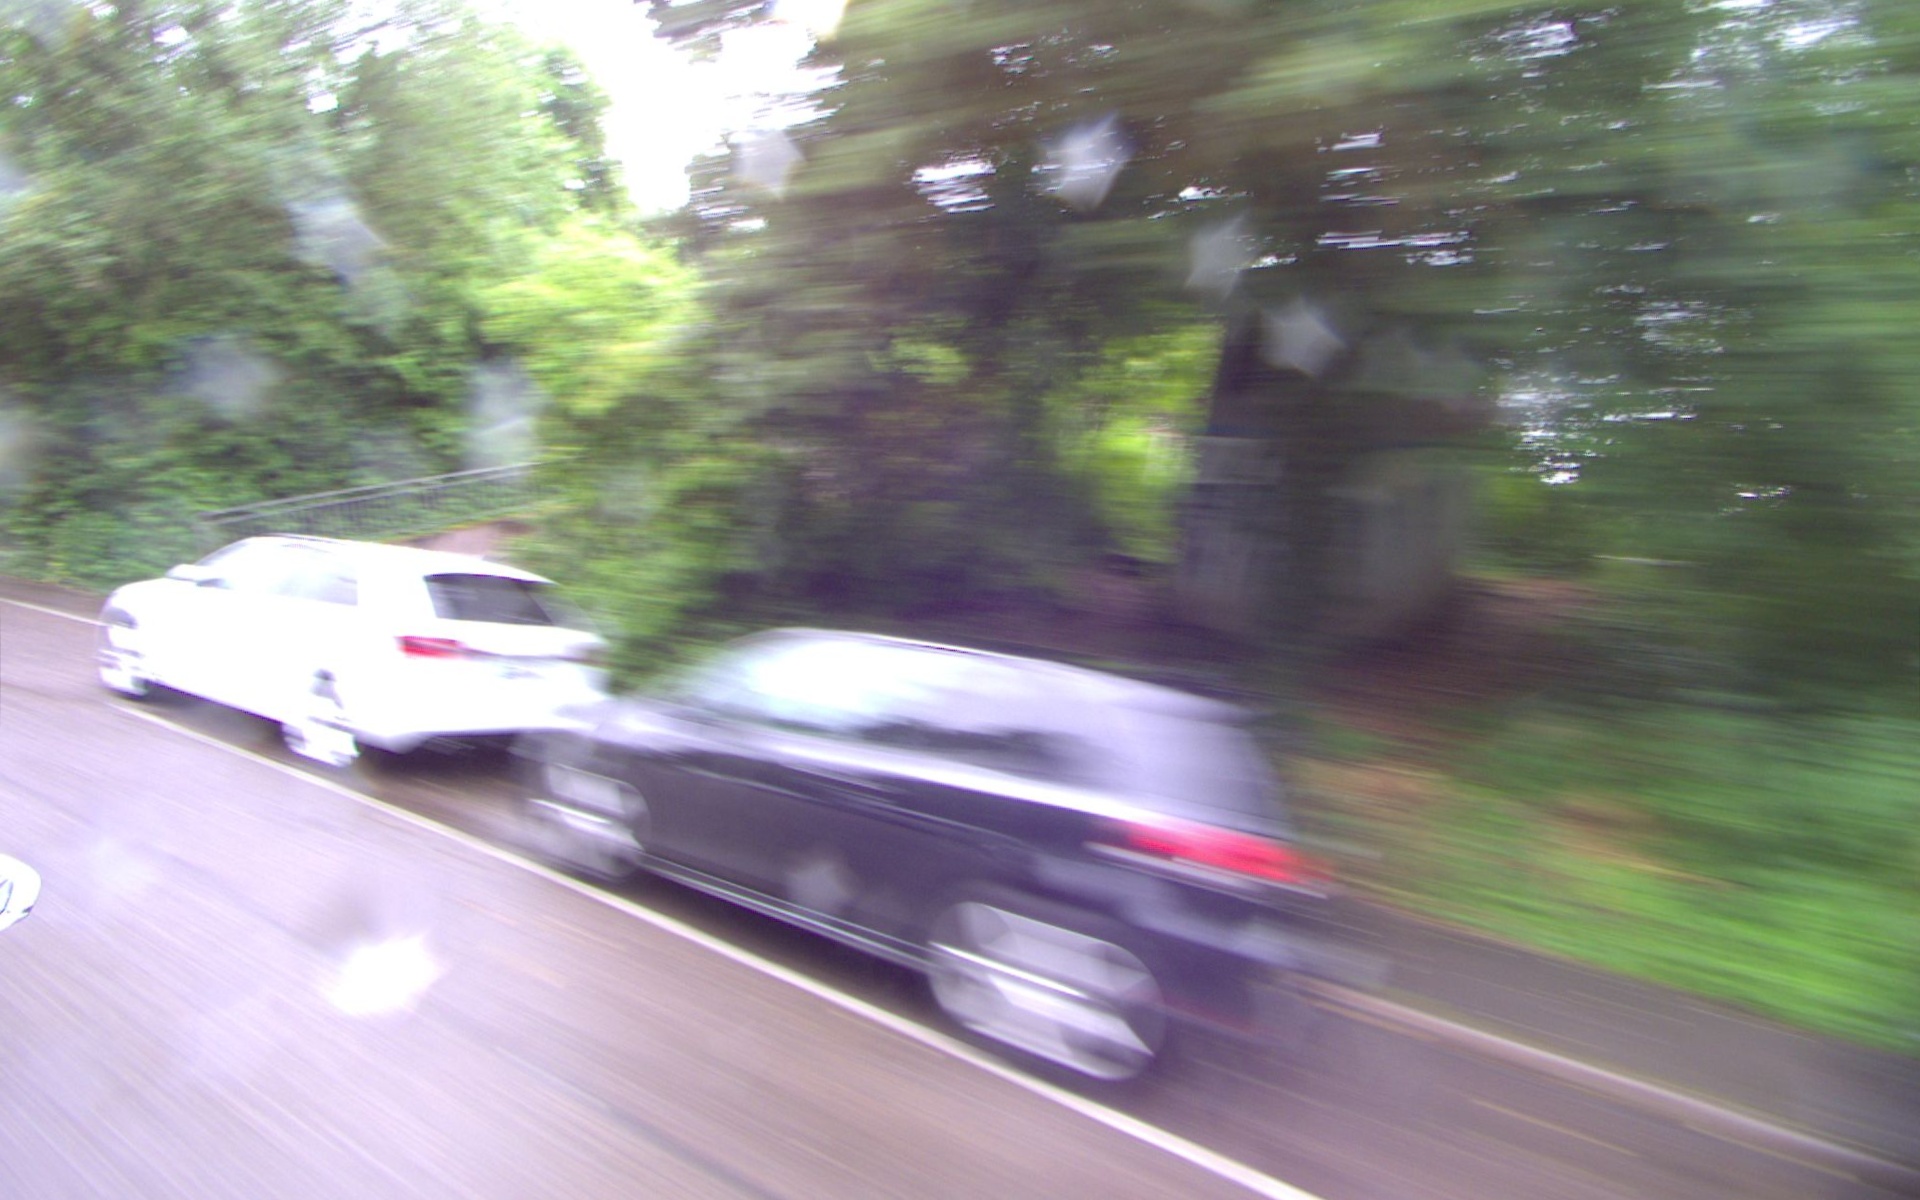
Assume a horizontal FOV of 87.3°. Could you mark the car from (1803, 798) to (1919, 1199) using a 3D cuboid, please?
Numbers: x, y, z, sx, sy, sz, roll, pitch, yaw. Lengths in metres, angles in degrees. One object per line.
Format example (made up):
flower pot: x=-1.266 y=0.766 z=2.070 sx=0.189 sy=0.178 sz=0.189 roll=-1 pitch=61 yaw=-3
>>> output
car: x=4.316 y=1.519 z=2.011 sx=3.762 sy=1.404 sz=1.593 roll=7 pitch=-3 yaw=35

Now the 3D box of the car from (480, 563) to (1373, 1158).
car: x=-0.332 y=0.840 z=4.833 sx=3.904 sy=1.440 sz=1.663 roll=8 pitch=-1 yaw=33

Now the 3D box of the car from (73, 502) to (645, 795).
car: x=-4.578 y=0.267 z=7.581 sx=4.024 sy=1.417 sz=1.759 roll=8 pitch=-1 yaw=28
